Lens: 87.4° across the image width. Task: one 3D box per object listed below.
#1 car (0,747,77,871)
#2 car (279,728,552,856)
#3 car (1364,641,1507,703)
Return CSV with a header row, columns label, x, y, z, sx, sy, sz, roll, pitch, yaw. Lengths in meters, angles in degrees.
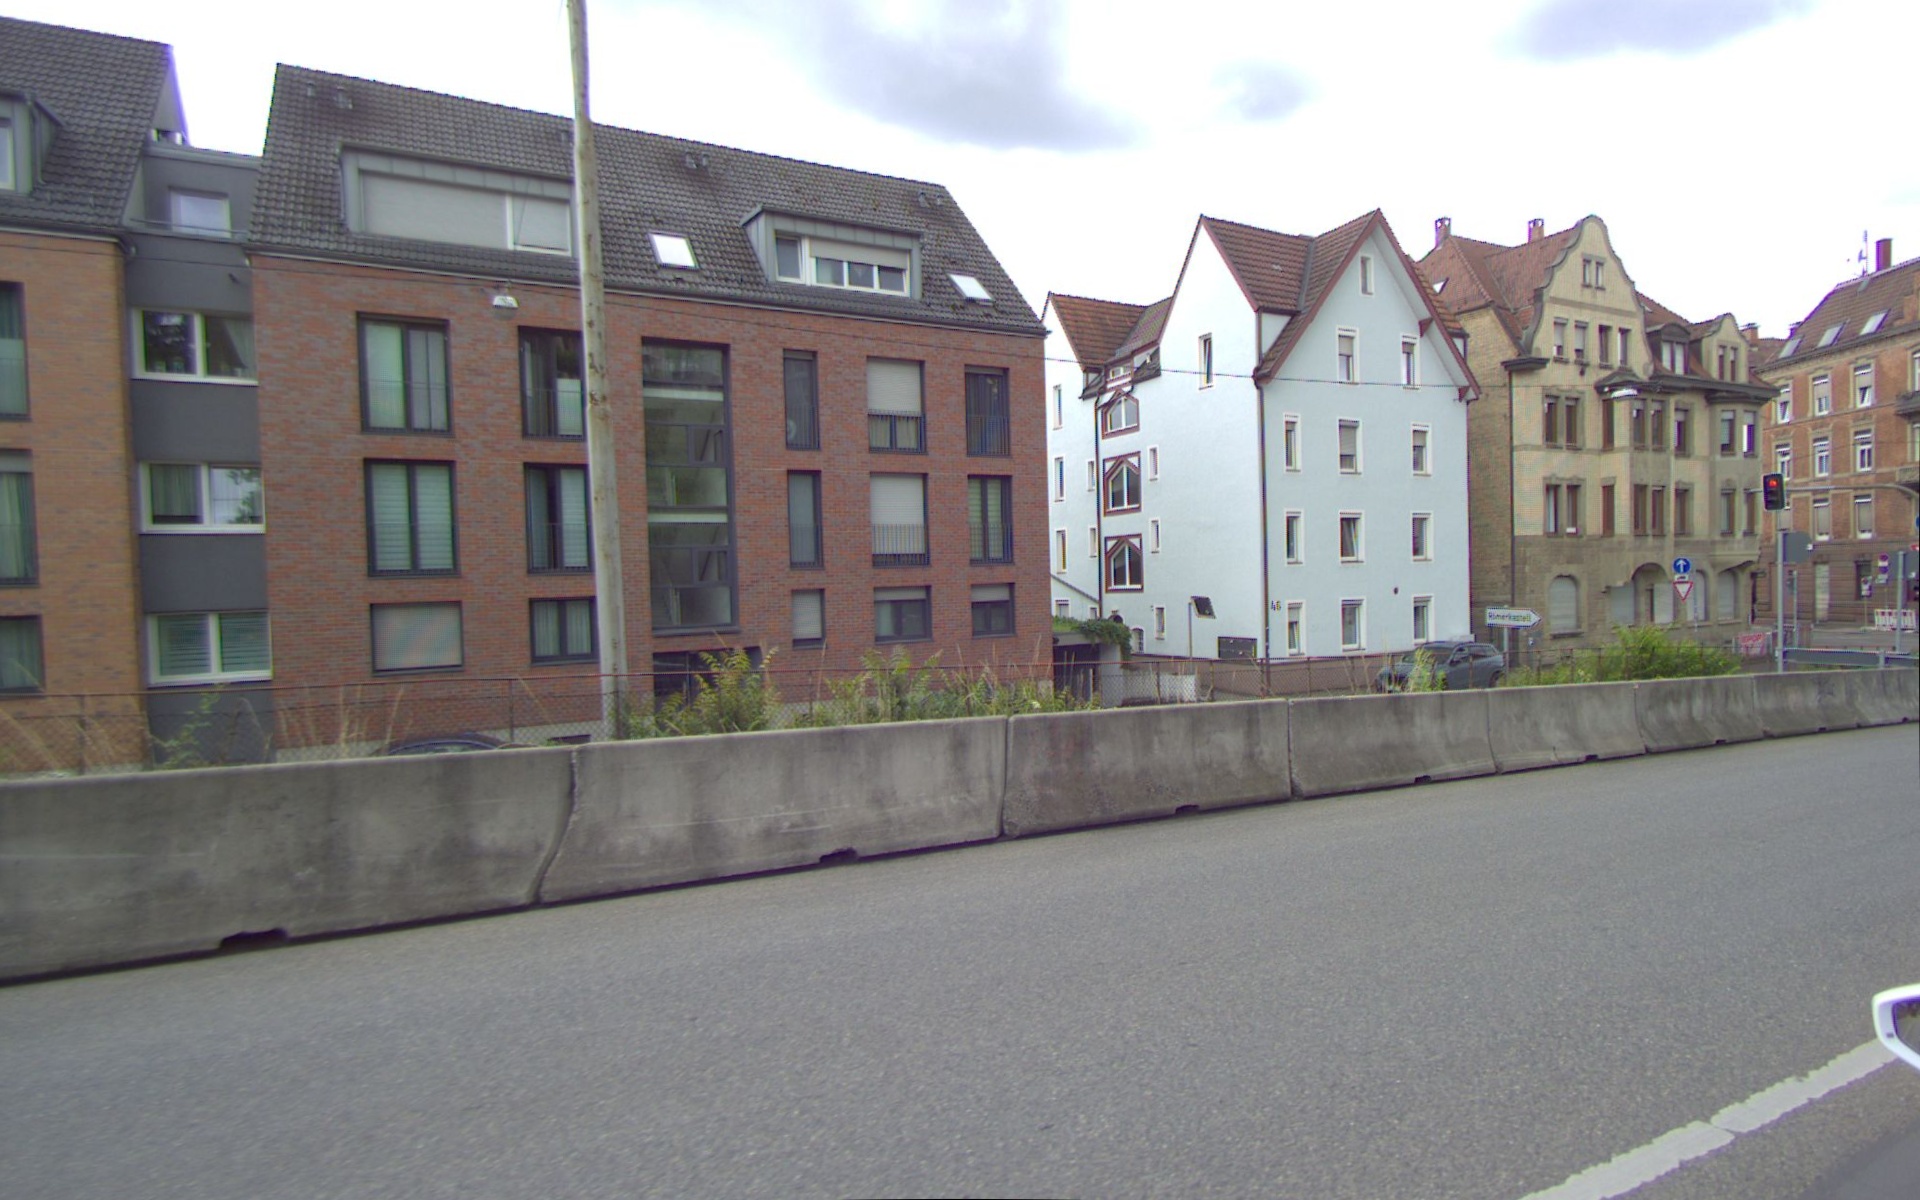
label,x,y,z,sx,sy,sz,roll,pitch,yaw
car,-15.170,3.029,13.996,3.949,1.530,1.788,0,-2,-28
car,-9.236,3.201,17.337,3.949,1.629,1.788,0,-2,-28
car,14.010,2.069,29.573,3.949,1.629,1.788,0,-2,-28
